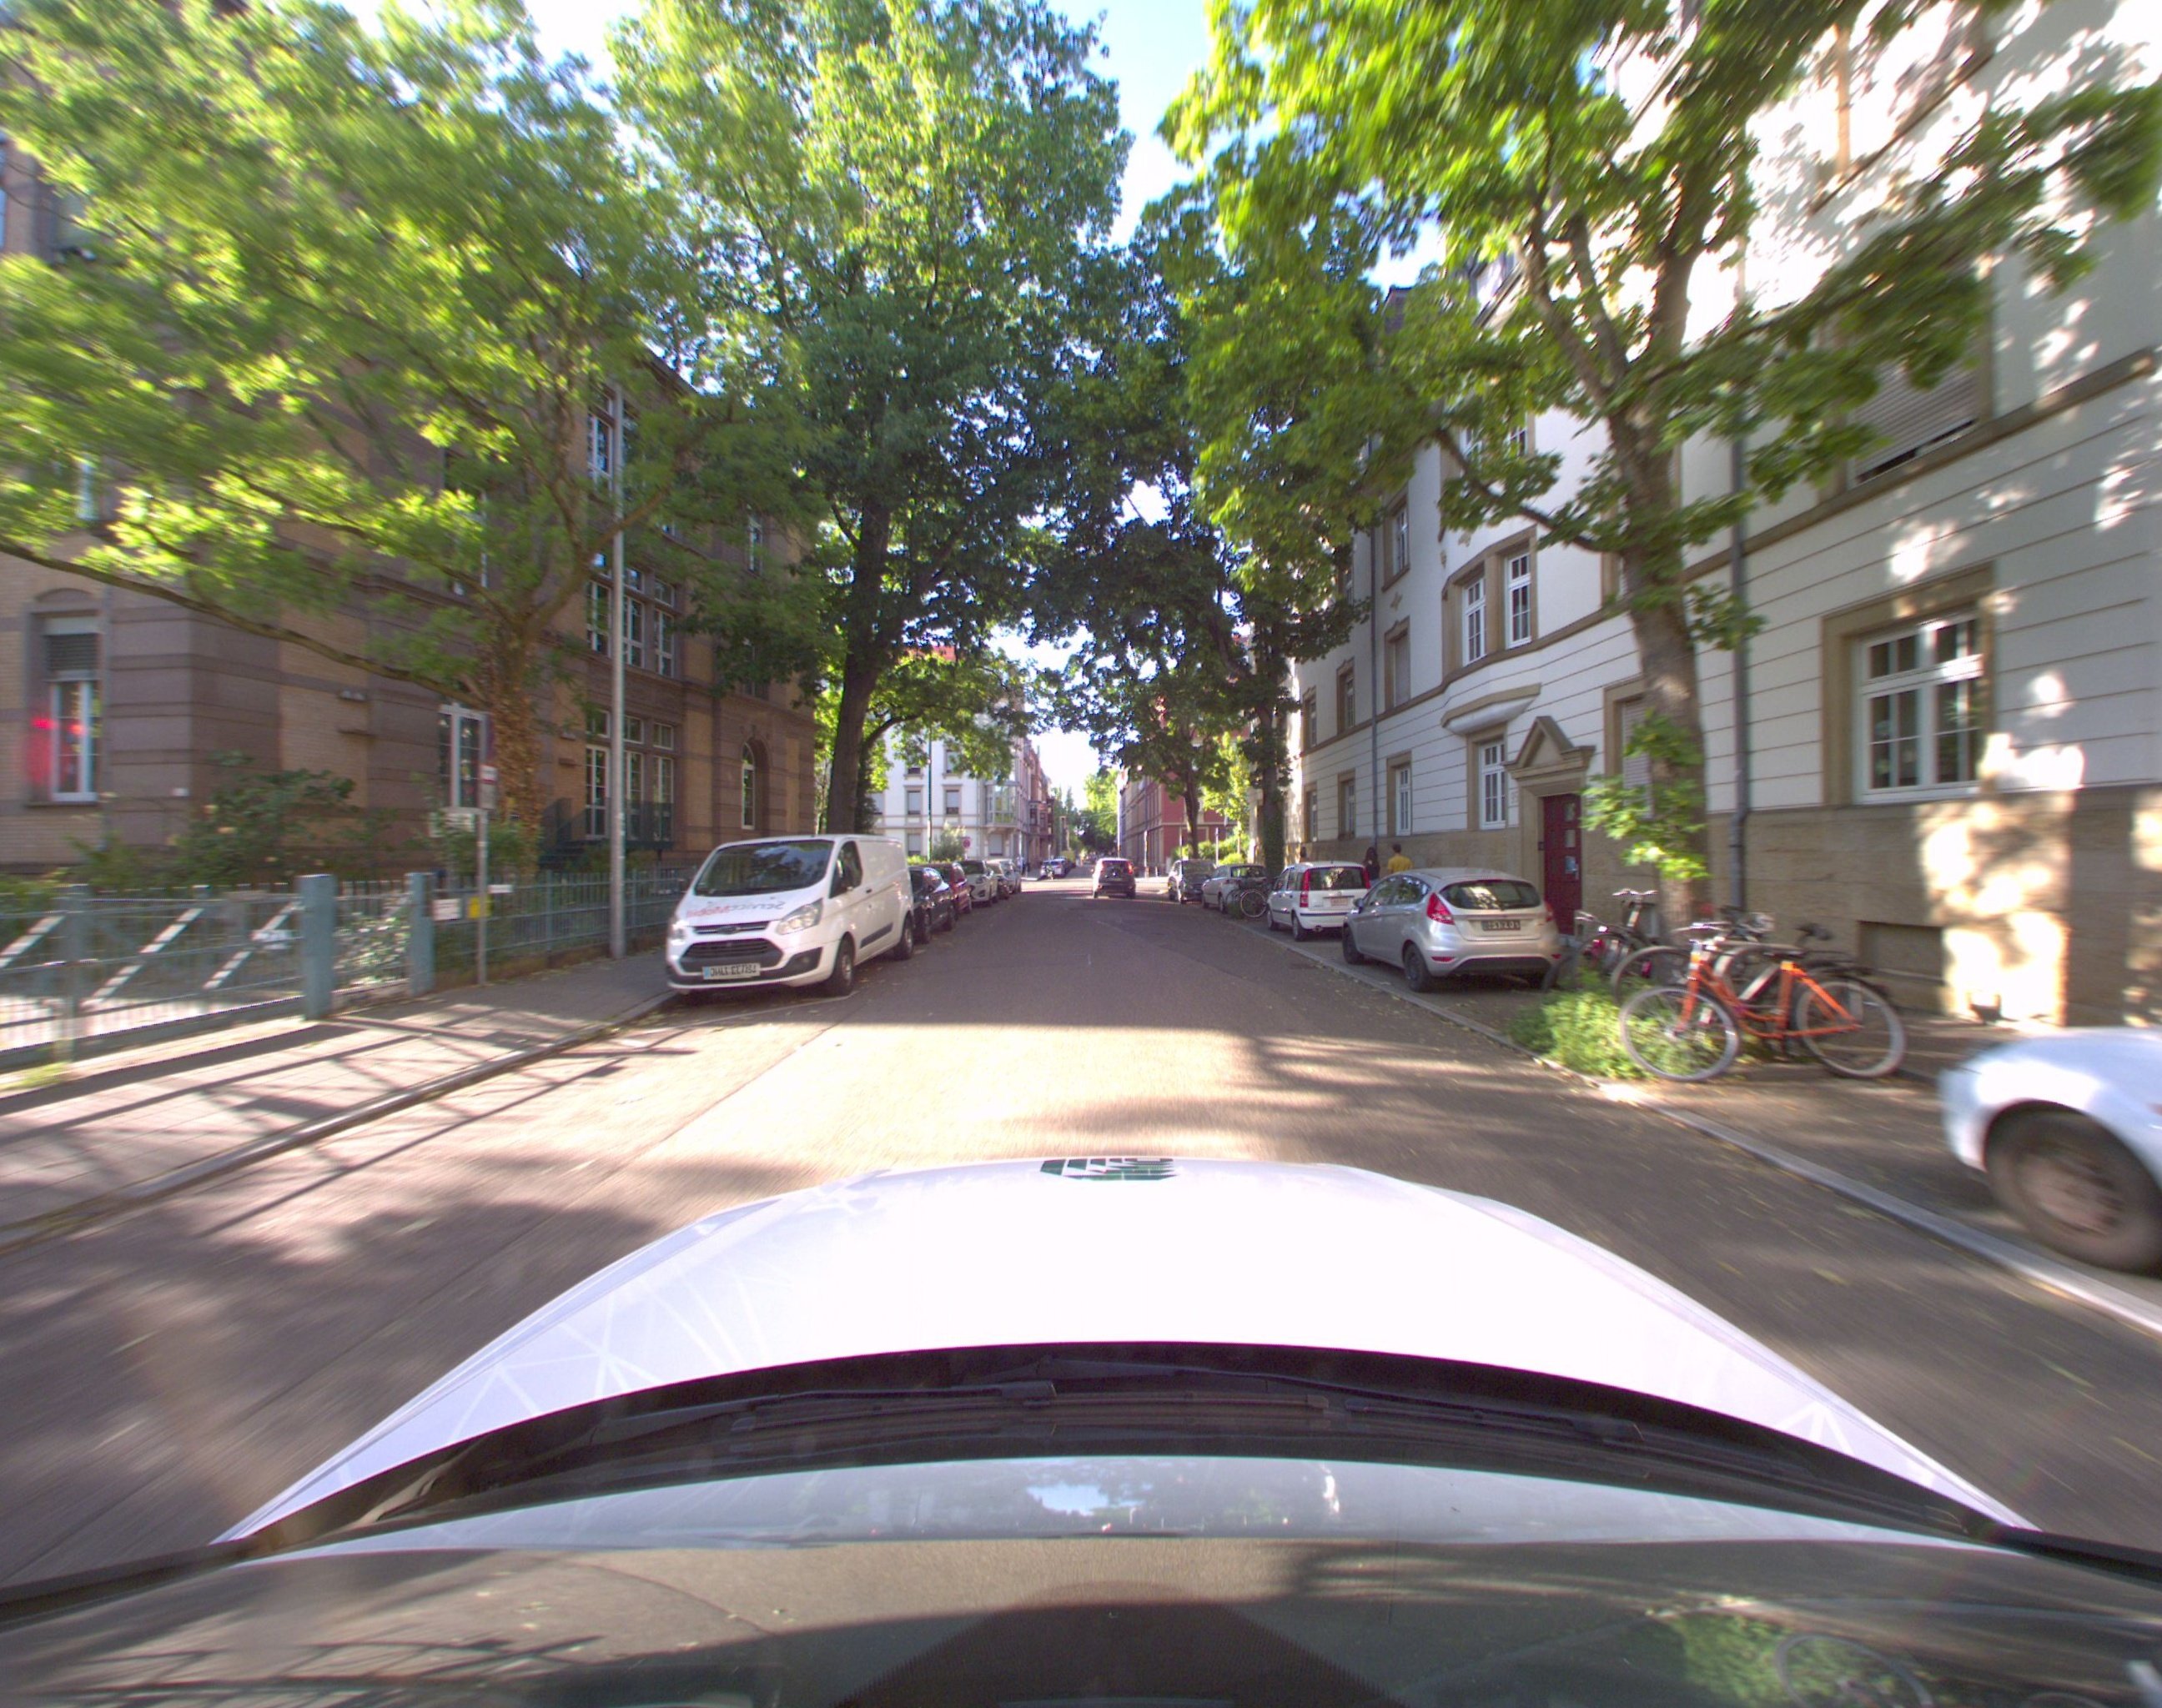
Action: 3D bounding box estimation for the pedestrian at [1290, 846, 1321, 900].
[{"bbox_3d":[7.093,0.593,25.729,0.774,1.694,0.875,0,0,3],"label":"pedestrian"}]

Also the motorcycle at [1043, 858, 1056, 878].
[{"bbox_3d":[-2.342,1.045,60.518,0.696,1.460,1.745,-1,0,-9],"label":"motorcycle"}]

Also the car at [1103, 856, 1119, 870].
[{"bbox_3d":[3.324,0.943,90.554,1.657,1.505,3.758,1,0,1],"label":"car"}]

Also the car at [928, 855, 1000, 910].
[{"bbox_3d":[-3.802,0.899,27.103,1.820,1.554,4.130,-4,0,-2],"label":"car"}]

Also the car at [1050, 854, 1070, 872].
[{"bbox_3d":[-2.192,0.947,85.379,1.768,1.698,3.926,-4,0,1],"label":"car"}]

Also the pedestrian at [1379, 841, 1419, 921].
[{"bbox_3d":[6.859,0.573,17.581,0.593,1.701,0.689,-1,0,1],"label":"pedestrian"}]

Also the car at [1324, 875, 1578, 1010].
[{"bbox_3d":[4.759,1.046,11.187,1.617,1.394,4.157,-1,0,1],"label":"car"}]

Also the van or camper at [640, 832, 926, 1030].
[{"bbox_3d":[-3.668,0.827,11.349,1.916,1.979,5.459,-3,0,-1],"label":"van or camper"}]

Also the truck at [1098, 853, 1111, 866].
[{"bbox_3d":[3.723,0.876,130.160,1.987,1.992,4.000,0,0,0],"label":"truck"}]

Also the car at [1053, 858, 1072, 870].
[{"bbox_3d":[-2.099,1.201,94.666,1.955,1.224,3.926,-4,0,1],"label":"car"}]

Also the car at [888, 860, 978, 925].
[{"bbox_3d":[-3.835,0.941,21.765,1.596,1.460,4.027,-3,0,0],"label":"car"}]

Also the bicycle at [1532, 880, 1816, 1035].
[{"bbox_3d":[5.280,0.900,7.347,1.962,1.229,0.760,-2,-1,1],"label":"bicycle"}]

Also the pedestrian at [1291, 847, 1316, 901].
[{"bbox_3d":[7.278,0.655,26.624,0.488,1.705,0.757,-4,-1,-1],"label":"pedestrian"}]

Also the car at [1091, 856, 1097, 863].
[{"bbox_3d":[2.934,1.200,183.956,1.363,1.618,3.414,0,0,1],"label":"car"}]

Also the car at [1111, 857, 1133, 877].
[{"bbox_3d":[3.296,1.038,65.877,1.657,1.505,3.758,1,0,1],"label":"car"}]

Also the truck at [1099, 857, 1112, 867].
[{"bbox_3d":[3.732,1.189,124.778,1.987,1.456,4.000,0,0,0],"label":"truck"}]

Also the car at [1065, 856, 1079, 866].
[{"bbox_3d":[-1.480,1.147,131.695,1.955,1.479,3.926,-4,0,1],"label":"car"}]

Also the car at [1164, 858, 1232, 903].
[{"bbox_3d":[4.314,0.937,30.713,1.784,1.551,4.405,0,0,-2],"label":"car"}]

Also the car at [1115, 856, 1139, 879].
[{"bbox_3d":[3.430,1.013,61.384,1.657,1.669,3.758,1,0,1],"label":"car"}]

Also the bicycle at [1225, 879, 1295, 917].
[{"bbox_3d":[4.785,1.165,21.865,1.710,0.949,0.733,-1,0,0],"label":"bicycle"}]

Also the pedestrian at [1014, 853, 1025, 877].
[{"bbox_3d":[-4.850,0.877,64.254,0.718,1.839,0.628,1,0,11],"label":"pedestrian"}]

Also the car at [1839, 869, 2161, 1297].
[{"bbox_3d":[4.667,0.831,2.289,1.591,1.488,3.748,-1,0,0],"label":"car"}]

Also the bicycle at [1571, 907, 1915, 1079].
[{"bbox_3d":[4.734,0.975,5.904,1.962,1.073,0.599,-2,-1,0],"label":"bicycle"}]

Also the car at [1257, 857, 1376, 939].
[{"bbox_3d":[4.818,0.837,17.122,1.515,1.511,3.544,-1,0,1],"label":"car"}]

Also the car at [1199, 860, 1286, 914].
[{"bbox_3d":[4.762,0.924,24.516,1.607,1.478,3.865,0,0,-4],"label":"car"}]

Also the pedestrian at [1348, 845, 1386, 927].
[{"bbox_3d":[6.268,0.687,17.867,0.518,1.735,0.878,-1,0,2],"label":"pedestrian"}]

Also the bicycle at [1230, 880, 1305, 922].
[{"bbox_3d":[4.712,1.186,20.642,1.764,1.039,0.606,0,0,0],"label":"bicycle"}]

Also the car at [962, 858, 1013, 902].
[{"bbox_3d":[-3.629,0.971,32.008,1.744,1.474,4.456,-4,0,-5],"label":"car"}]

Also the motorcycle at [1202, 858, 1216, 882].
[{"bbox_3d":[8.201,1.002,52.231,0.822,1.404,2.563,-1,2,9],"label":"motorcycle"}]

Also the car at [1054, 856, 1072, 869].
[{"bbox_3d":[-2.228,1.083,102.319,1.955,1.479,3.926,-4,0,1],"label":"car"}]

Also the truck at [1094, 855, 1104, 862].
[{"bbox_3d":[3.654,0.955,164.350,1.987,1.456,4.000,0,0,0],"label":"truck"}]

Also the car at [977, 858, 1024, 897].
[{"bbox_3d":[-3.613,1.012,37.108,1.691,1.550,3.918,-4,0,0],"label":"car"}]

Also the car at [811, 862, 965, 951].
[{"bbox_3d":[-3.770,0.960,16.864,1.994,1.457,4.606,-3,0,0],"label":"car"}]

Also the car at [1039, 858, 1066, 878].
[{"bbox_3d":[-2.180,1.073,63.816,1.790,1.432,3.926,-4,0,1],"label":"car"}]

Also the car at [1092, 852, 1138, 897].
[{"bbox_3d":[1.265,0.756,31.716,1.627,1.550,3.264,1,1,0],"label":"car"}]

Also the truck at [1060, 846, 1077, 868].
[{"bbox_3d":[-1.790,0.453,116.434,2.063,2.926,5.069,-4,0,1],"label":"truck"}]
